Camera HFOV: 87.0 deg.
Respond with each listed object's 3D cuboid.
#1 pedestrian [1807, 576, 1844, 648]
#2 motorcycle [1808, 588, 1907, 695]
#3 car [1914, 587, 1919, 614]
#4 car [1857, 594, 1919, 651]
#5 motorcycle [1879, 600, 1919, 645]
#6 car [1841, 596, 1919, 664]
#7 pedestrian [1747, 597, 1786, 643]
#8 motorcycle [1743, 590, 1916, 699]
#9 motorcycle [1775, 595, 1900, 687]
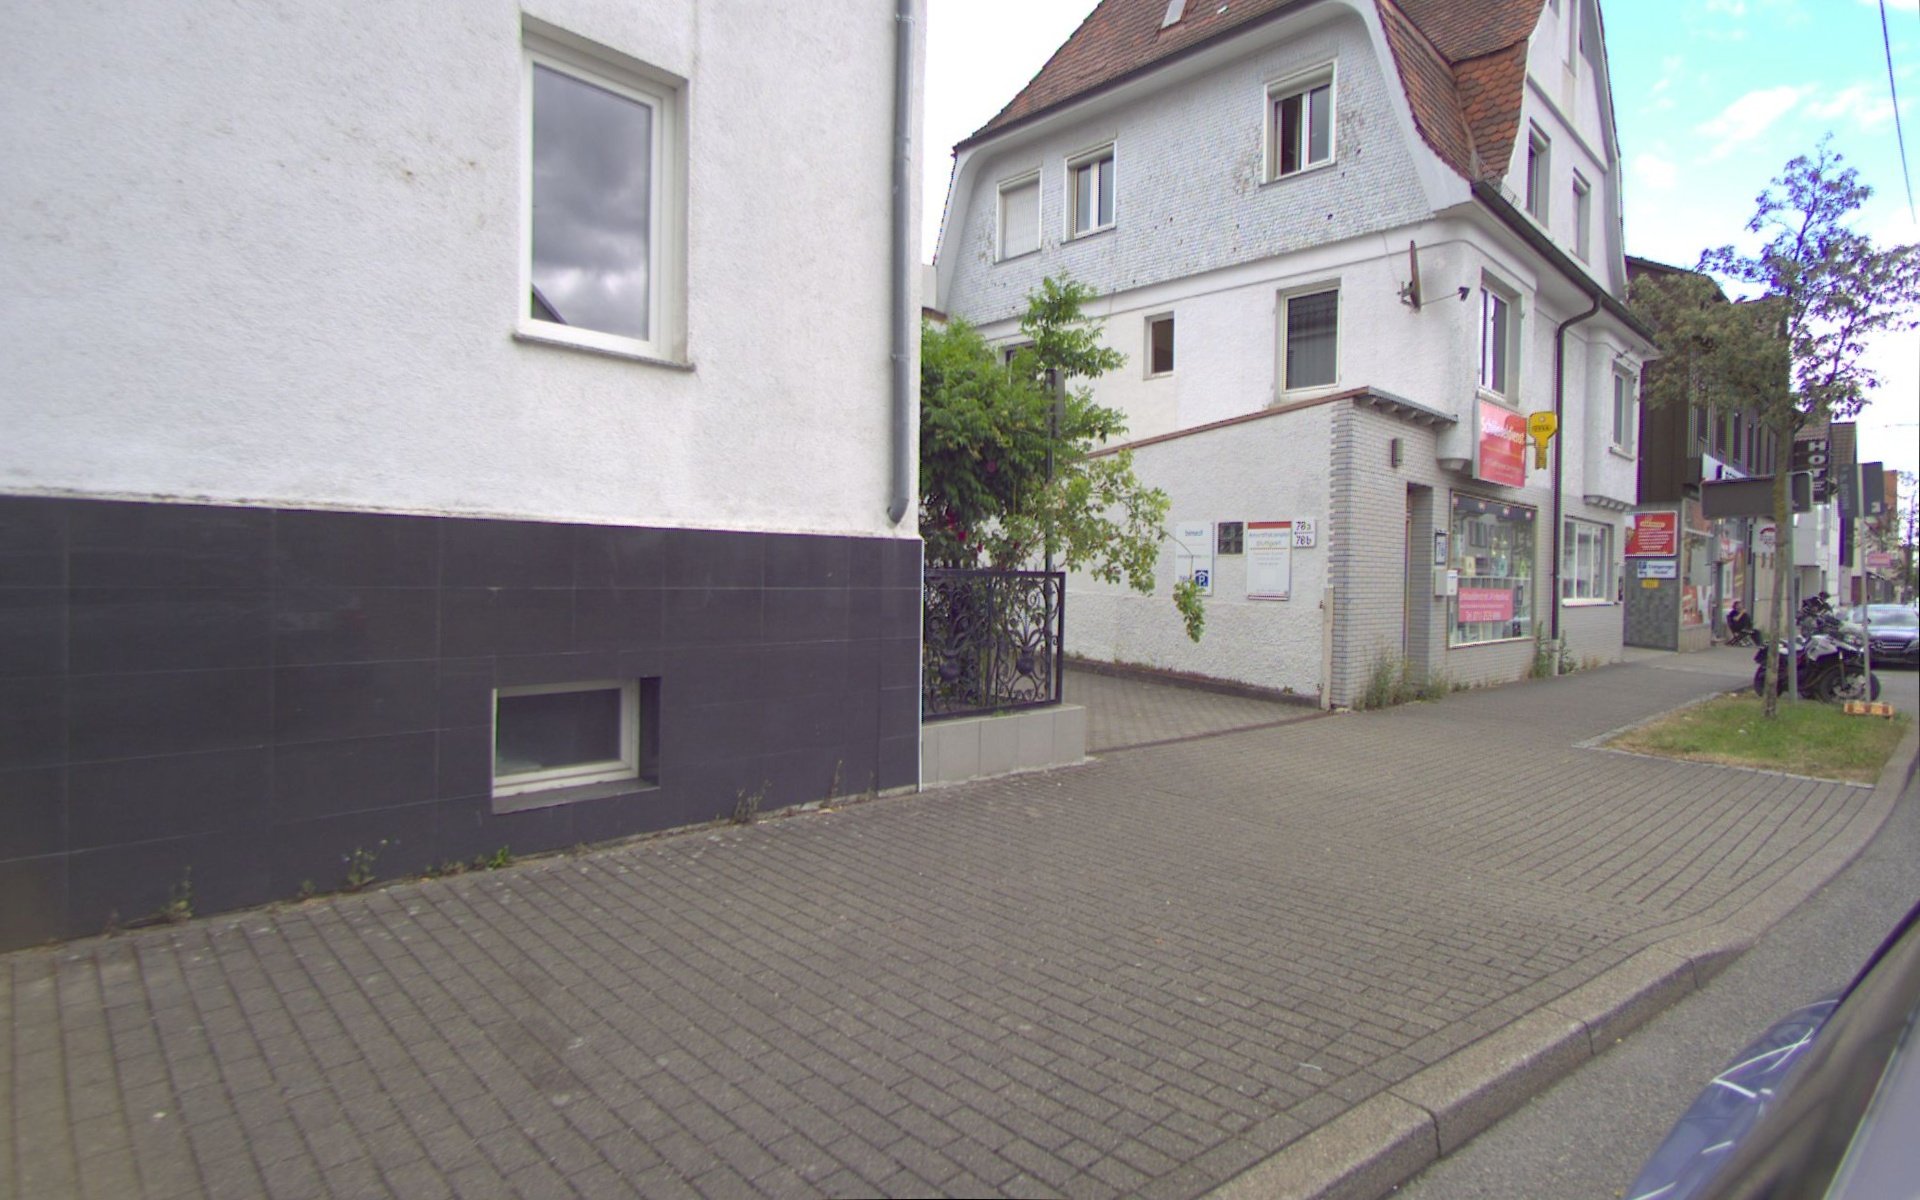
[{"bbox_3d":[21.786,0.293,25.489,0.641,1.762,0.731,3,2,40],"label":"pedestrian"},{"bbox_3d":[13.918,0.594,15.663,2.550,1.544,0.672,0,1,-38],"label":"motorcycle"},{"bbox_3d":[51.336,0.060,53.003,3.883,1.380,1.792,0,3,-44],"label":"car"},{"bbox_3d":[25.734,0.572,27.658,1.641,1.460,3.840,1,1,45],"label":"car"},{"bbox_3d":[28.185,0.656,29.822,1.564,1.308,0.499,0,0,17],"label":"motorcycle"},{"bbox_3d":[21.953,0.646,23.610,1.825,1.426,4.492,1,1,45],"label":"car"},{"bbox_3d":[22.619,0.552,28.390,0.633,1.226,0.740,0,2,-45],"label":"pedestrian"},{"bbox_3d":[12.135,0.567,14.239,0.763,1.399,2.238,0,1,9],"label":"motorcycle"},{"bbox_3d":[14.656,0.647,16.885,2.418,1.458,0.651,0,0,-25],"label":"motorcycle"}]
